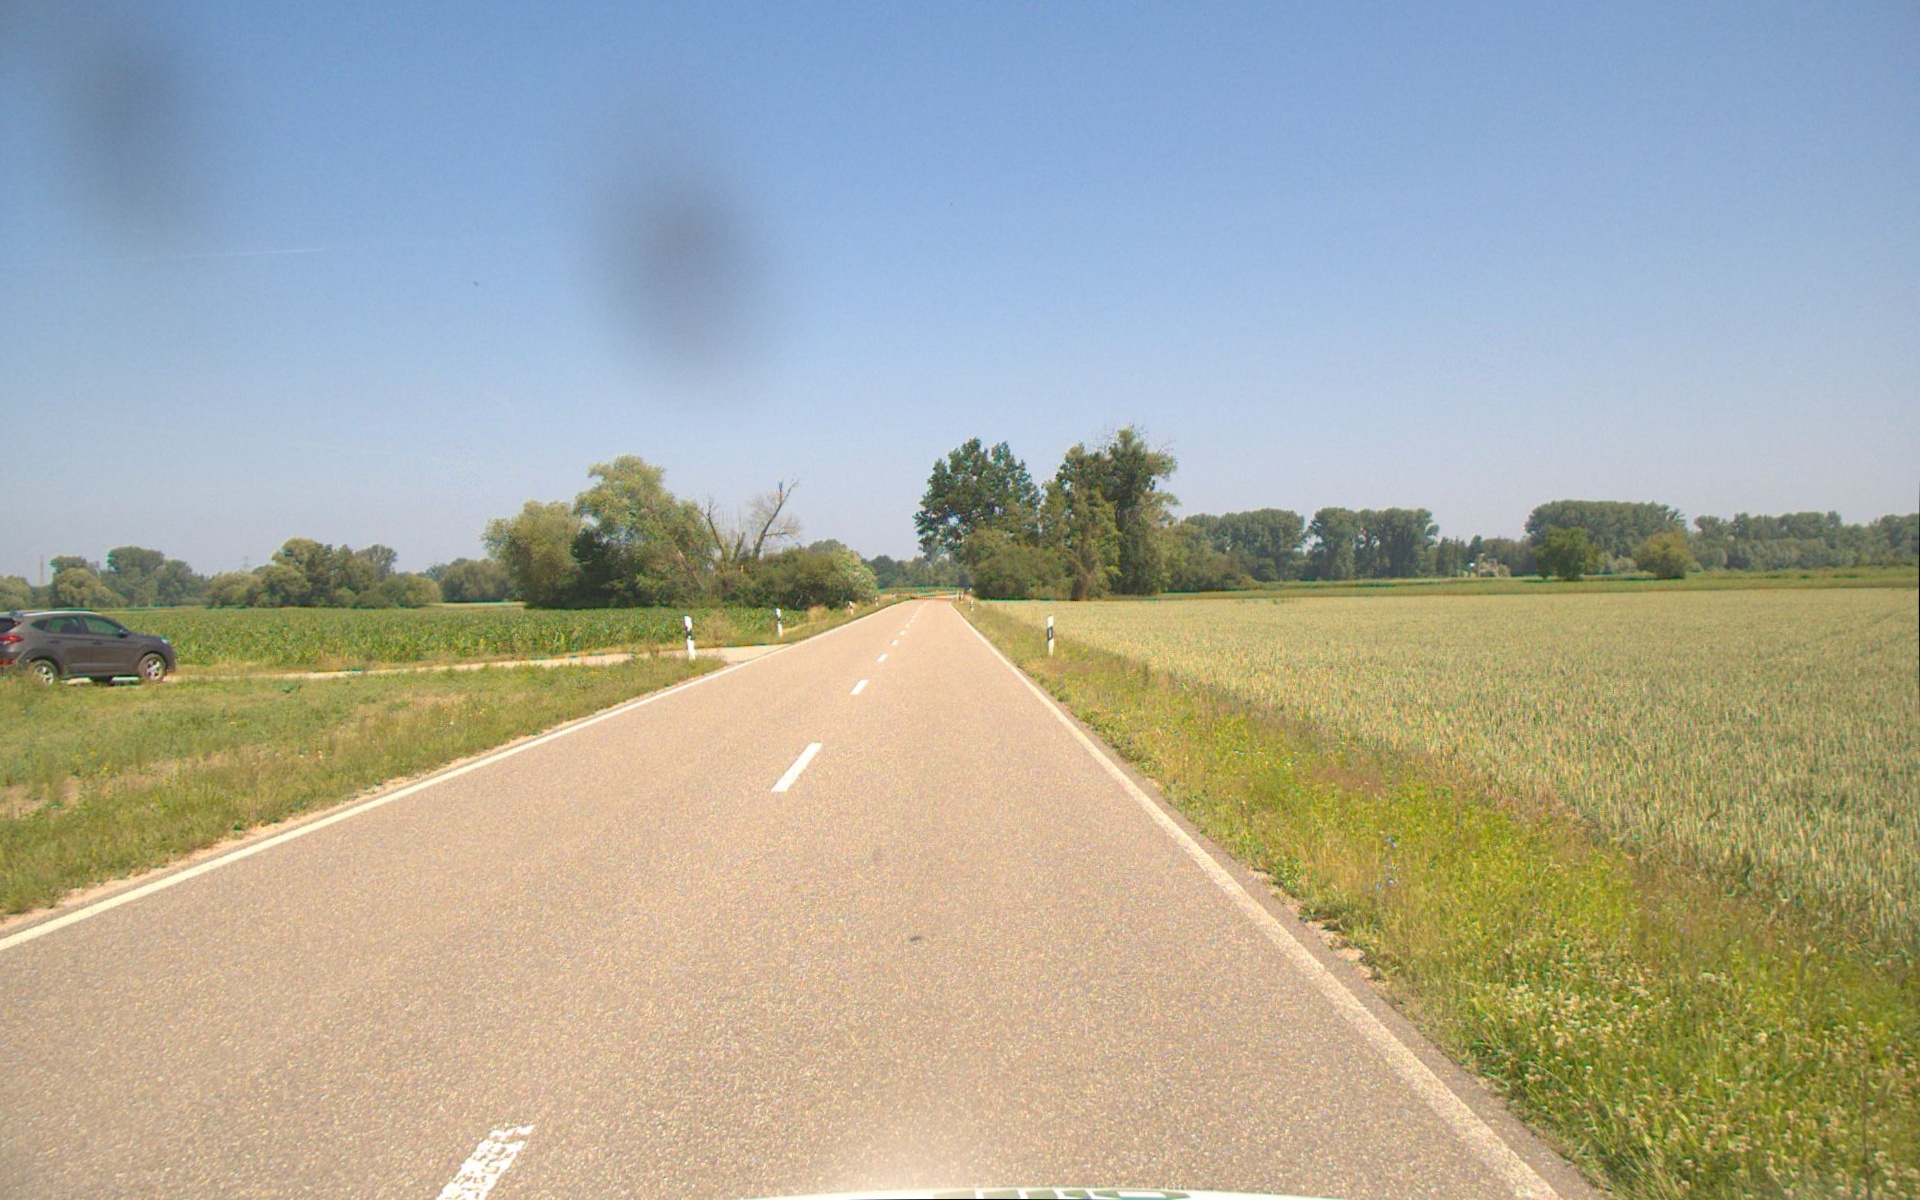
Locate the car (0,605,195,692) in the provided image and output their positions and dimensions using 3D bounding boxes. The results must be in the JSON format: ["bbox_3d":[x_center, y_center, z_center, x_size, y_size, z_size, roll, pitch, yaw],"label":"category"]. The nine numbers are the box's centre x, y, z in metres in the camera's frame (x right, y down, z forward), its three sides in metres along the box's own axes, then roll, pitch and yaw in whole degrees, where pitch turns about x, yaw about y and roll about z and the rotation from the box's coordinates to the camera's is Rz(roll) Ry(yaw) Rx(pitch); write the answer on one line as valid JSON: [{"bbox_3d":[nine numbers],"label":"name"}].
[{"bbox_3d":[-19.194,1.014,36.066,1.718,1.680,4.527,-1,1,24],"label":"car"}]
